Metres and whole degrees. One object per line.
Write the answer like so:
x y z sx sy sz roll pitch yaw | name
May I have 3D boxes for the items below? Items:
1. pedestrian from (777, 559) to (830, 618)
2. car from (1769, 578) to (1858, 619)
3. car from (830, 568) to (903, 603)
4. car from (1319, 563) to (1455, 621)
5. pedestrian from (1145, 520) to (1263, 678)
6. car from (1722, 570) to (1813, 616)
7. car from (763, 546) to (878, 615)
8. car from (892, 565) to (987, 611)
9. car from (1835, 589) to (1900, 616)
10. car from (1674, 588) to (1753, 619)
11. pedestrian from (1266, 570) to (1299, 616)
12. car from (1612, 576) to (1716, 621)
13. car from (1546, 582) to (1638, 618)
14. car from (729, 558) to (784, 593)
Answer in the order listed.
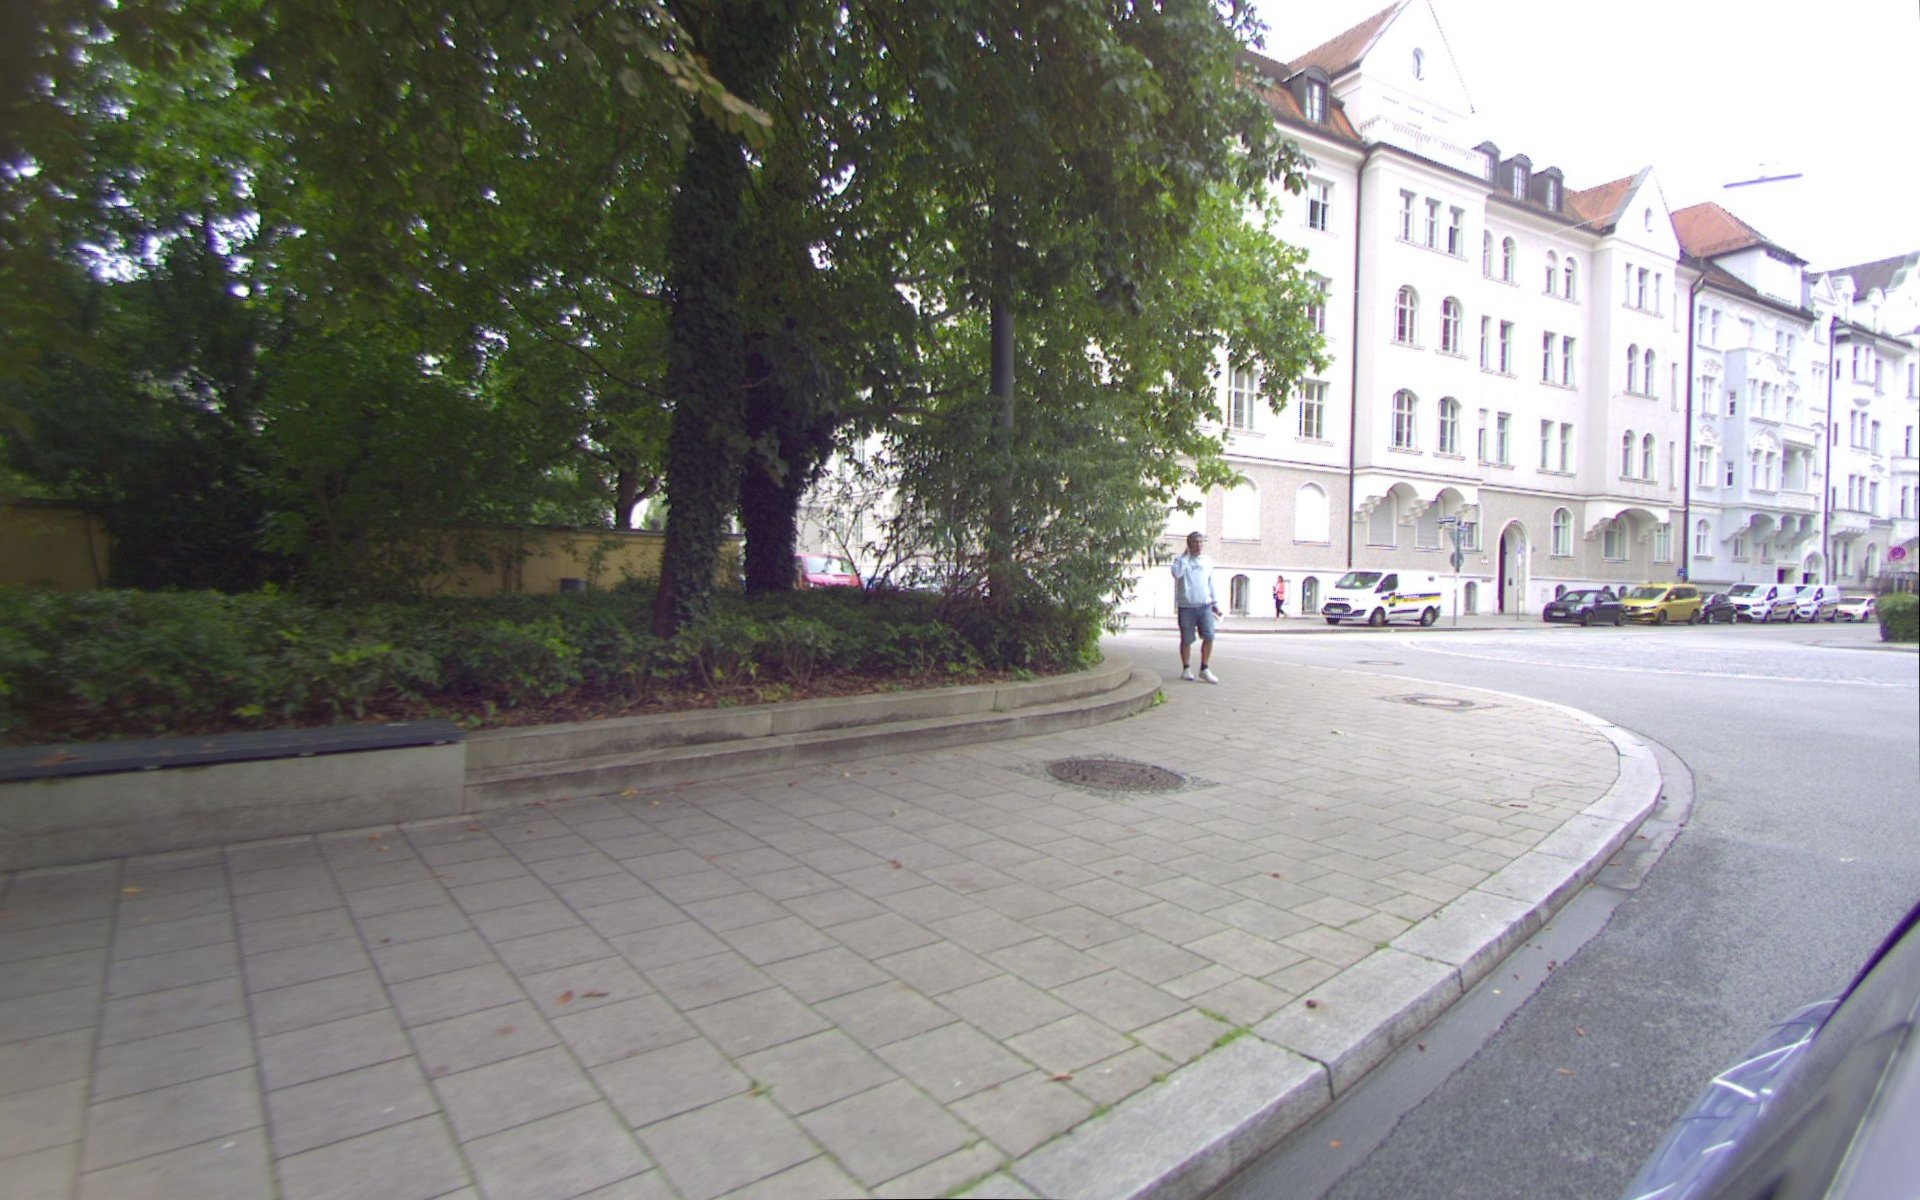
-3.651 -0.275 23.617 0.992 1.355 0.878 1 1 -25 | pedestrian
44.730 -0.079 53.016 4.727 2.019 2.127 1 1 -32 | car
-4.319 -0.668 46.190 1.665 1.432 3.663 2 1 -36 | car
14.964 -0.283 35.414 4.814 1.904 1.927 0 2 -32 | car
2.905 -0.026 12.120 0.859 1.793 1.054 1 1 -27 | pedestrian
39.704 -0.325 49.748 4.729 2.118 2.126 1 1 -34 | car
-4.399 -0.657 31.243 1.842 1.944 4.894 -1 2 -29 | car
-0.866 -0.496 39.567 1.717 1.622 4.502 2 1 -29 | car
49.770 0.155 55.510 3.468 1.363 1.699 1 1 -31 | car
34.665 0.162 46.576 3.468 1.363 1.699 1 1 -31 | car
11.785 -0.273 37.005 0.838 1.656 0.734 1 1 -30 | pedestrian
30.503 -0.066 43.840 4.052 1.861 2.030 1 1 -28 | car
25.816 0.007 41.326 3.606 1.363 1.699 1 1 -30 | car
-12.282 -1.520 60.823 1.824 1.962 4.965 2 1 -29 | car
